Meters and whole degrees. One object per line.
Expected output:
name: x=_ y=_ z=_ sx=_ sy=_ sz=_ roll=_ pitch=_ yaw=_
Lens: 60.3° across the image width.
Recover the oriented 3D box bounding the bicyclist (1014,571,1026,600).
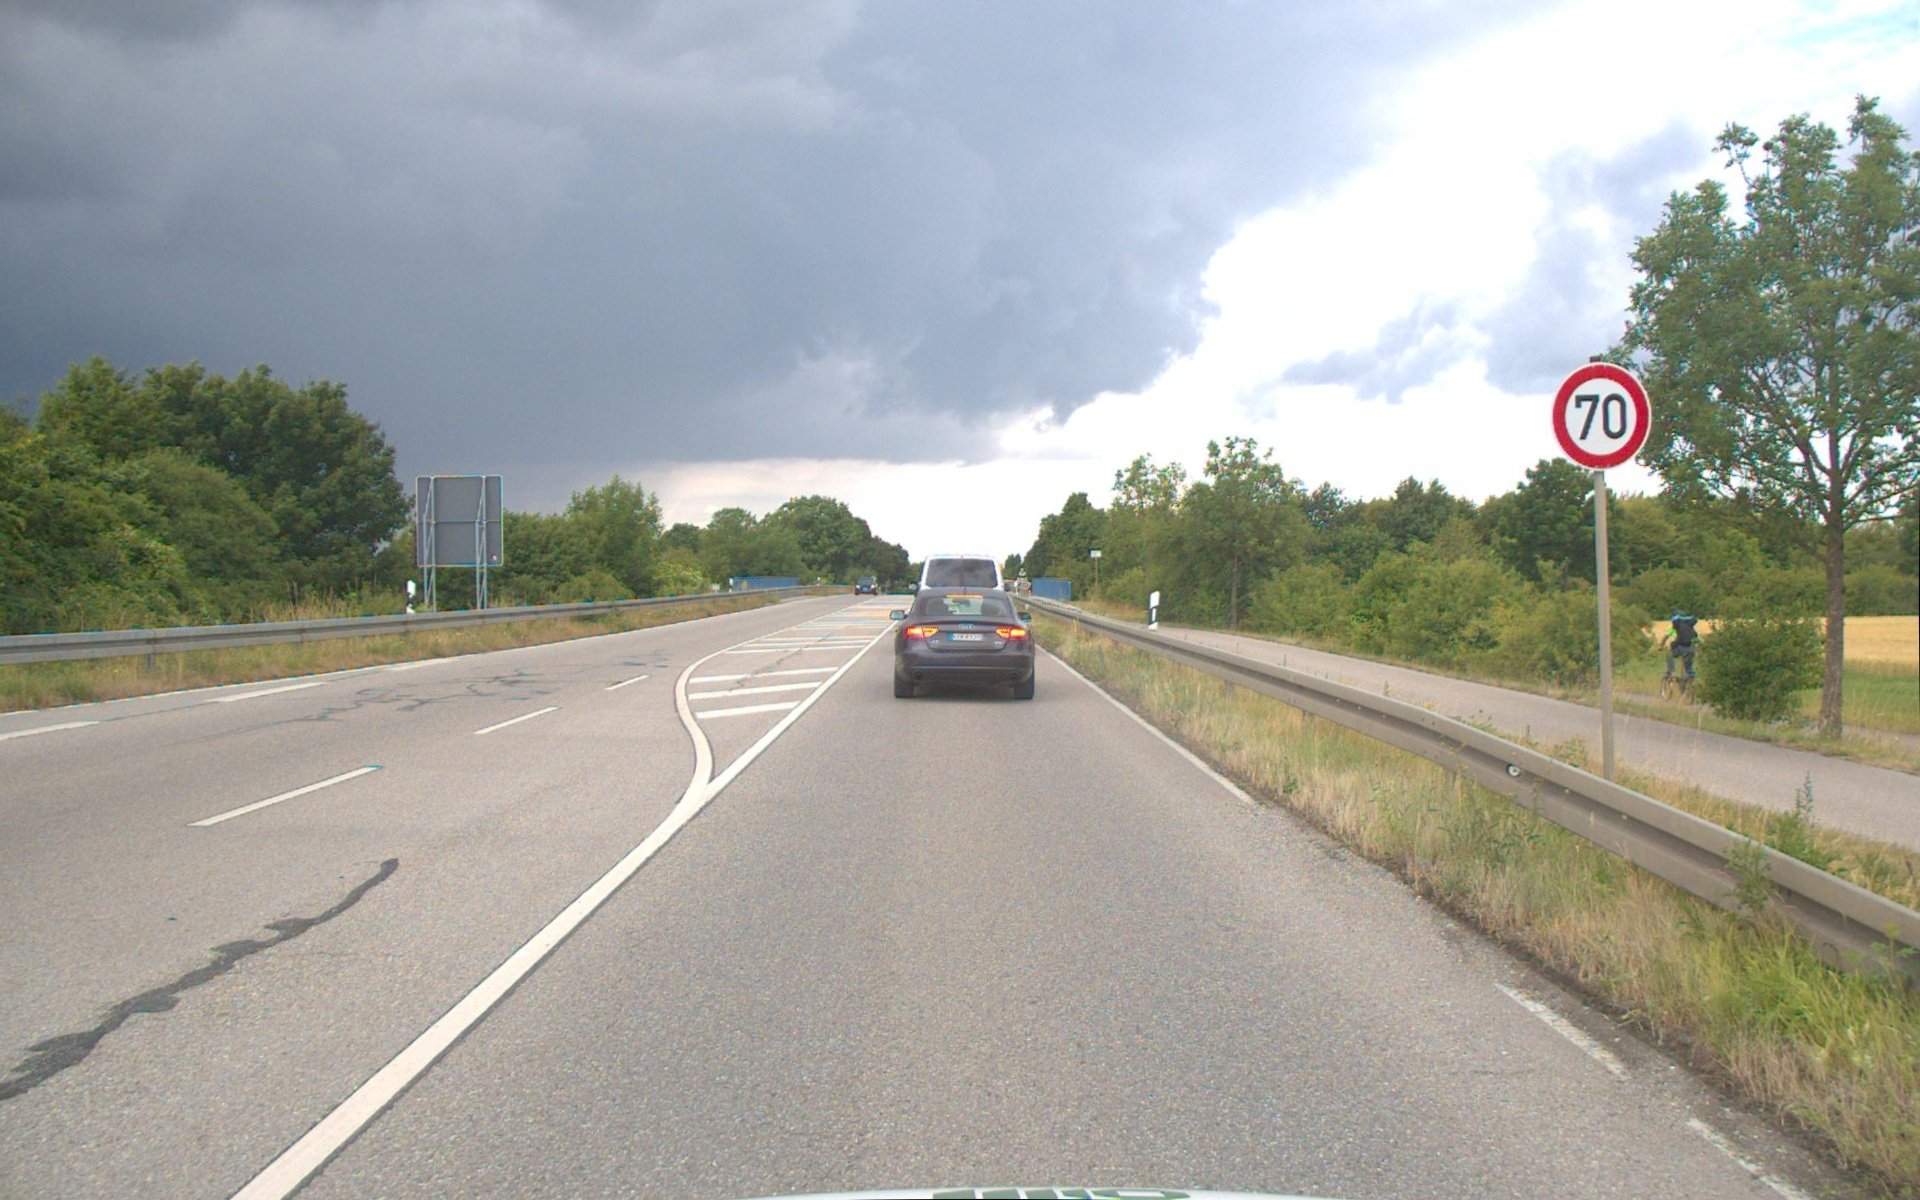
bicyclist: x=3.524 y=-0.863 z=96.795 sx=0.634 sy=1.674 sz=0.866 roll=0 pitch=0 yaw=-1

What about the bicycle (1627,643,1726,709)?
bicycle: x=13.875 y=1.442 z=32.111 sx=0.642 sy=1.158 sz=2.830 roll=1 pitch=0 yaw=-1

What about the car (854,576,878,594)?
car: x=-7.498 y=-1.180 z=132.201 sx=1.825 sy=1.400 sz=3.999 roll=1 pitch=1 yaw=-2

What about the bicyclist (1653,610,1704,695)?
bicyclist: x=13.872 y=1.008 z=31.948 sx=0.642 sy=1.608 sz=0.744 roll=1 pitch=-1 yaw=-1

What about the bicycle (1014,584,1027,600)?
bicycle: x=3.531 y=-0.454 z=96.739 sx=0.652 sy=0.936 sz=1.830 roll=0 pitch=0 yaw=-1

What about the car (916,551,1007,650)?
car: x=0.015 y=0.004 z=34.389 sx=1.749 sy=1.922 sz=3.999 roll=1 pitch=0 yaw=-1

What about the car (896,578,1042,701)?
car: x=0.090 y=0.469 z=22.000 sx=1.749 sy=1.448 sz=3.999 roll=1 pitch=0 yaw=-1

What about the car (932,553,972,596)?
car: x=-0.480 y=-1.568 z=101.555 sx=2.397 sy=2.548 sz=5.041 roll=1 pitch=1 yaw=0
